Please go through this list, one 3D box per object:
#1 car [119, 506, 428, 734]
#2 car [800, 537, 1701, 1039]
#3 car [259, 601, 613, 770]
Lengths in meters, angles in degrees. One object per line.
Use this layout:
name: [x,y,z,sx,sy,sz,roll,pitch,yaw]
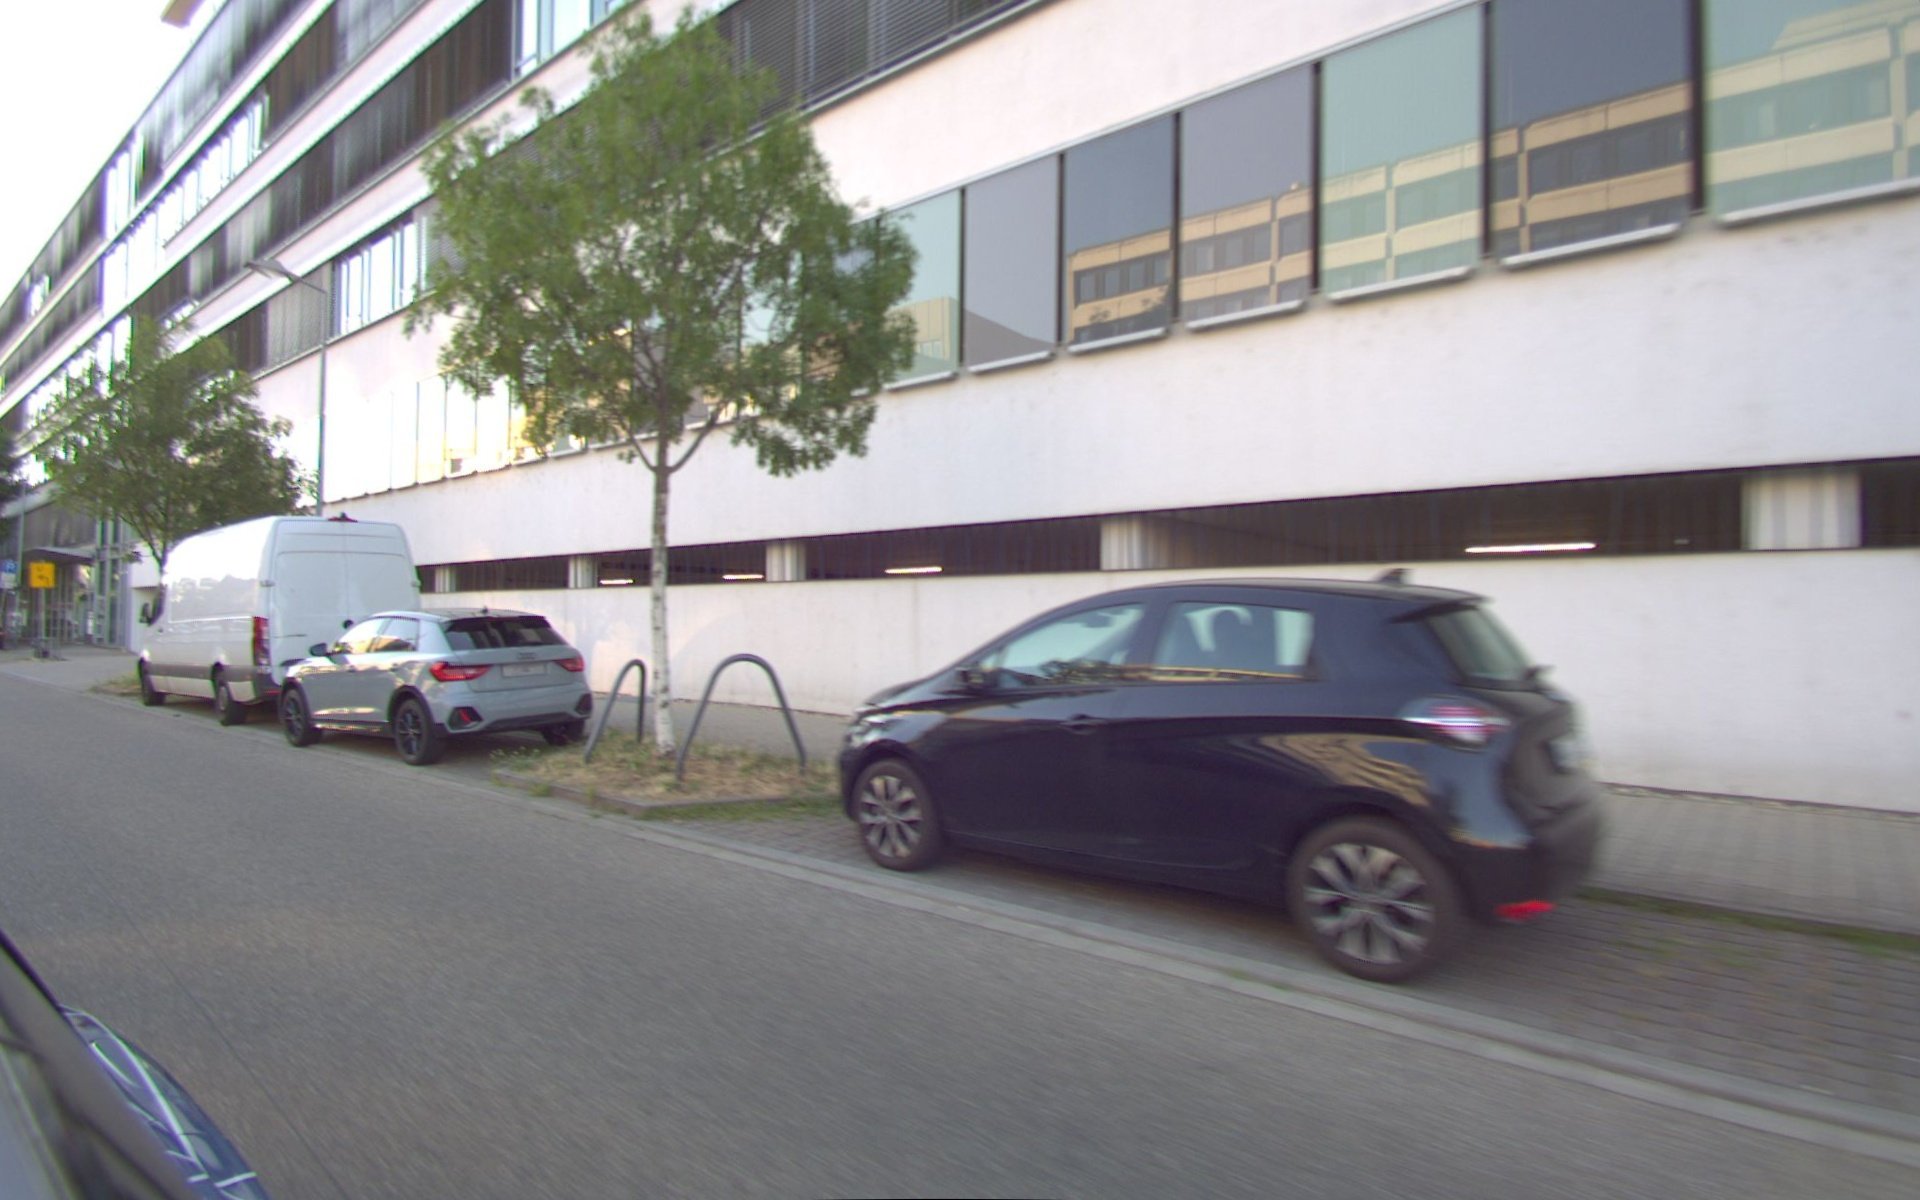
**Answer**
car: [-10.173,0.309,14.654,6.888,2.637,1.938,-2,-1,41]
car: [1.188,0.630,5.162,4.040,1.573,1.738,-2,-1,41]
car: [-5.603,0.802,10.682,3.893,1.450,1.740,-2,-1,36]
